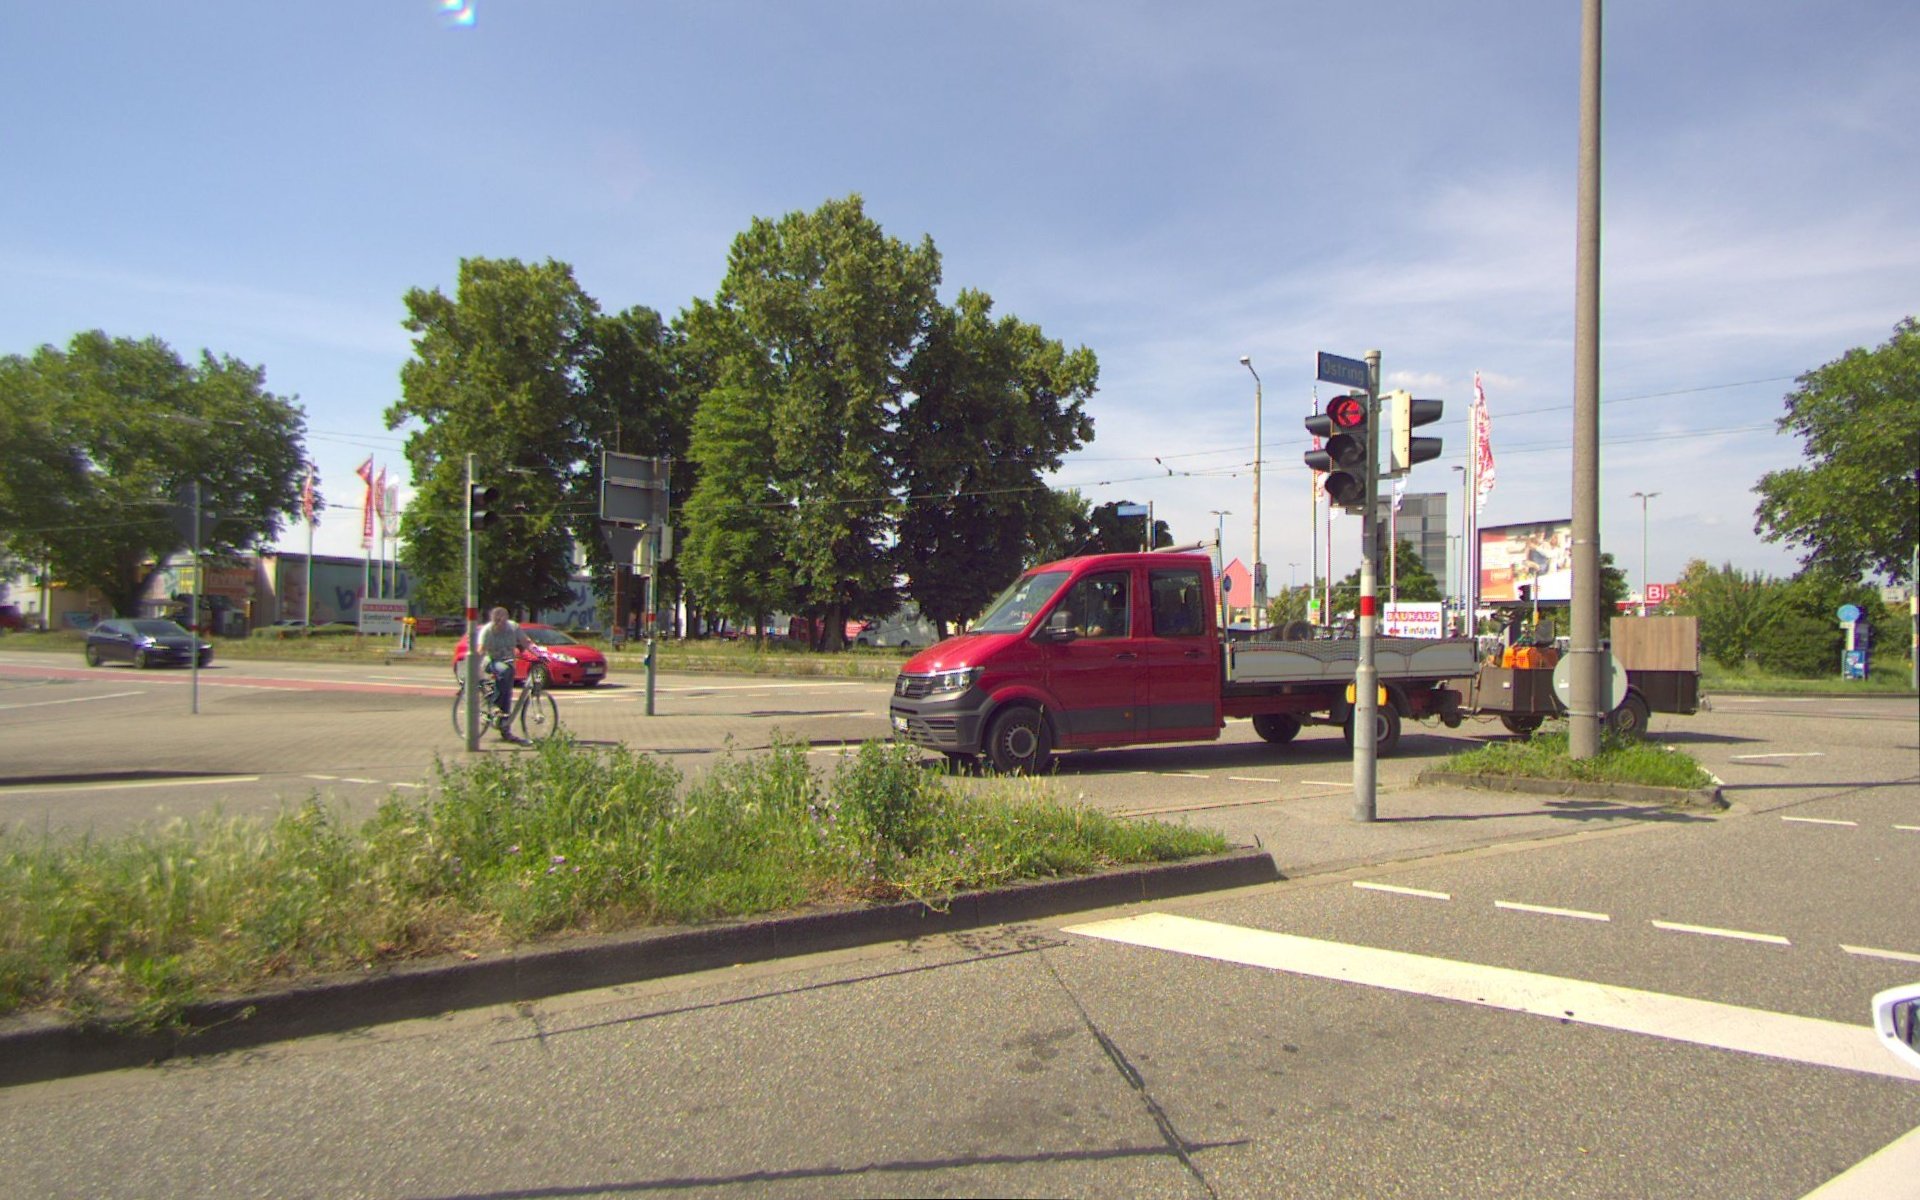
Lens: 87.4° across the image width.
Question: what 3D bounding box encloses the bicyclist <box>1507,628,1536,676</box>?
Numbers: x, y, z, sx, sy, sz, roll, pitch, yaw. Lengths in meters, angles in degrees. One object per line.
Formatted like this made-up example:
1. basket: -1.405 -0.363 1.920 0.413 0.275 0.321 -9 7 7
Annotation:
1. bicyclist: 17.719 1.638 31.707 0.599 1.511 0.528 1 -1 -15

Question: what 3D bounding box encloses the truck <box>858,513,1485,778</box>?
1. truck: 2.492 0.520 11.650 7.016 2.508 2.138 1 -1 -18

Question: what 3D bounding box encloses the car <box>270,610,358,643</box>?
1. car: -47.318 1.968 73.726 2.112 2.308 5.037 0 -2 26

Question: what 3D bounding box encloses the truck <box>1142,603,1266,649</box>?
1. truck: 18.479 1.934 76.202 8.753 3.355 3.159 0 -2 23

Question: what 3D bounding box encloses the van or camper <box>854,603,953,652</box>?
1. van or camper: -3.885 1.841 68.785 6.207 3.141 2.709 1 -1 26

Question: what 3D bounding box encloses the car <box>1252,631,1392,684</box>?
1. car: 10.746 1.672 29.828 3.788 1.446 1.698 0 -2 26

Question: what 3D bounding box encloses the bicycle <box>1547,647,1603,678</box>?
1. bicycle: 21.590 2.203 35.276 1.864 1.051 0.594 1 -1 -16

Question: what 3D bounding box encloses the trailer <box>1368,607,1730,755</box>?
1. trailer: 7.769 1.011 13.391 3.926 1.738 2.062 1 -1 -17

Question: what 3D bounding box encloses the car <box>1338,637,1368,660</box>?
1. car: 27.919 3.424 71.338 1.787 1.593 4.278 0 -2 24

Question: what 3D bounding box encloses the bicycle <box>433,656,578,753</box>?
1. bicycle: -5.707 1.268 12.552 2.128 1.078 0.524 0 -2 31

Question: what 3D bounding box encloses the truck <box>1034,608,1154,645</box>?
1. truck: 11.063 2.172 83.063 9.431 2.930 2.925 0 -2 24

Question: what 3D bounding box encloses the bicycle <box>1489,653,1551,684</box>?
1. bicycle: 17.664 2.150 31.688 1.963 0.950 0.416 1 -1 -14

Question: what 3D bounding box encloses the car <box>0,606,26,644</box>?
1. car: -58.987 1.470 59.391 2.111 2.308 5.038 0 -2 24

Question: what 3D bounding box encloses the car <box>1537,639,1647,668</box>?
1. car: 33.650 2.818 53.599 2.180 1.432 4.529 2 -2 -37

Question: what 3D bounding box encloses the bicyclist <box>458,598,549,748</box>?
1. bicyclist: -5.730 0.888 12.616 0.754 1.812 0.704 0 -1 31

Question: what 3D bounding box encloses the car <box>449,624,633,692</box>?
1. car: -9.930 1.326 23.812 3.924 1.468 1.846 0 -2 25

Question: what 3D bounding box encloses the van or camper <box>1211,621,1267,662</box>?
1. van or camper: 16.194 2.399 58.170 2.155 2.239 5.513 0 -2 26

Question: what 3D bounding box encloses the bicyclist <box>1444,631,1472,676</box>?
1. bicyclist: 15.985 1.716 32.253 0.598 1.432 0.529 1 -1 -7

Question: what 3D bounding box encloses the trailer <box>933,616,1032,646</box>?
1. trailer: 1.937 2.672 87.078 8.057 2.523 2.924 0 -2 26

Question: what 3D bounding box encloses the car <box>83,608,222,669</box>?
1. car: -24.318 1.142 30.233 3.929 1.721 1.996 0 -2 31
